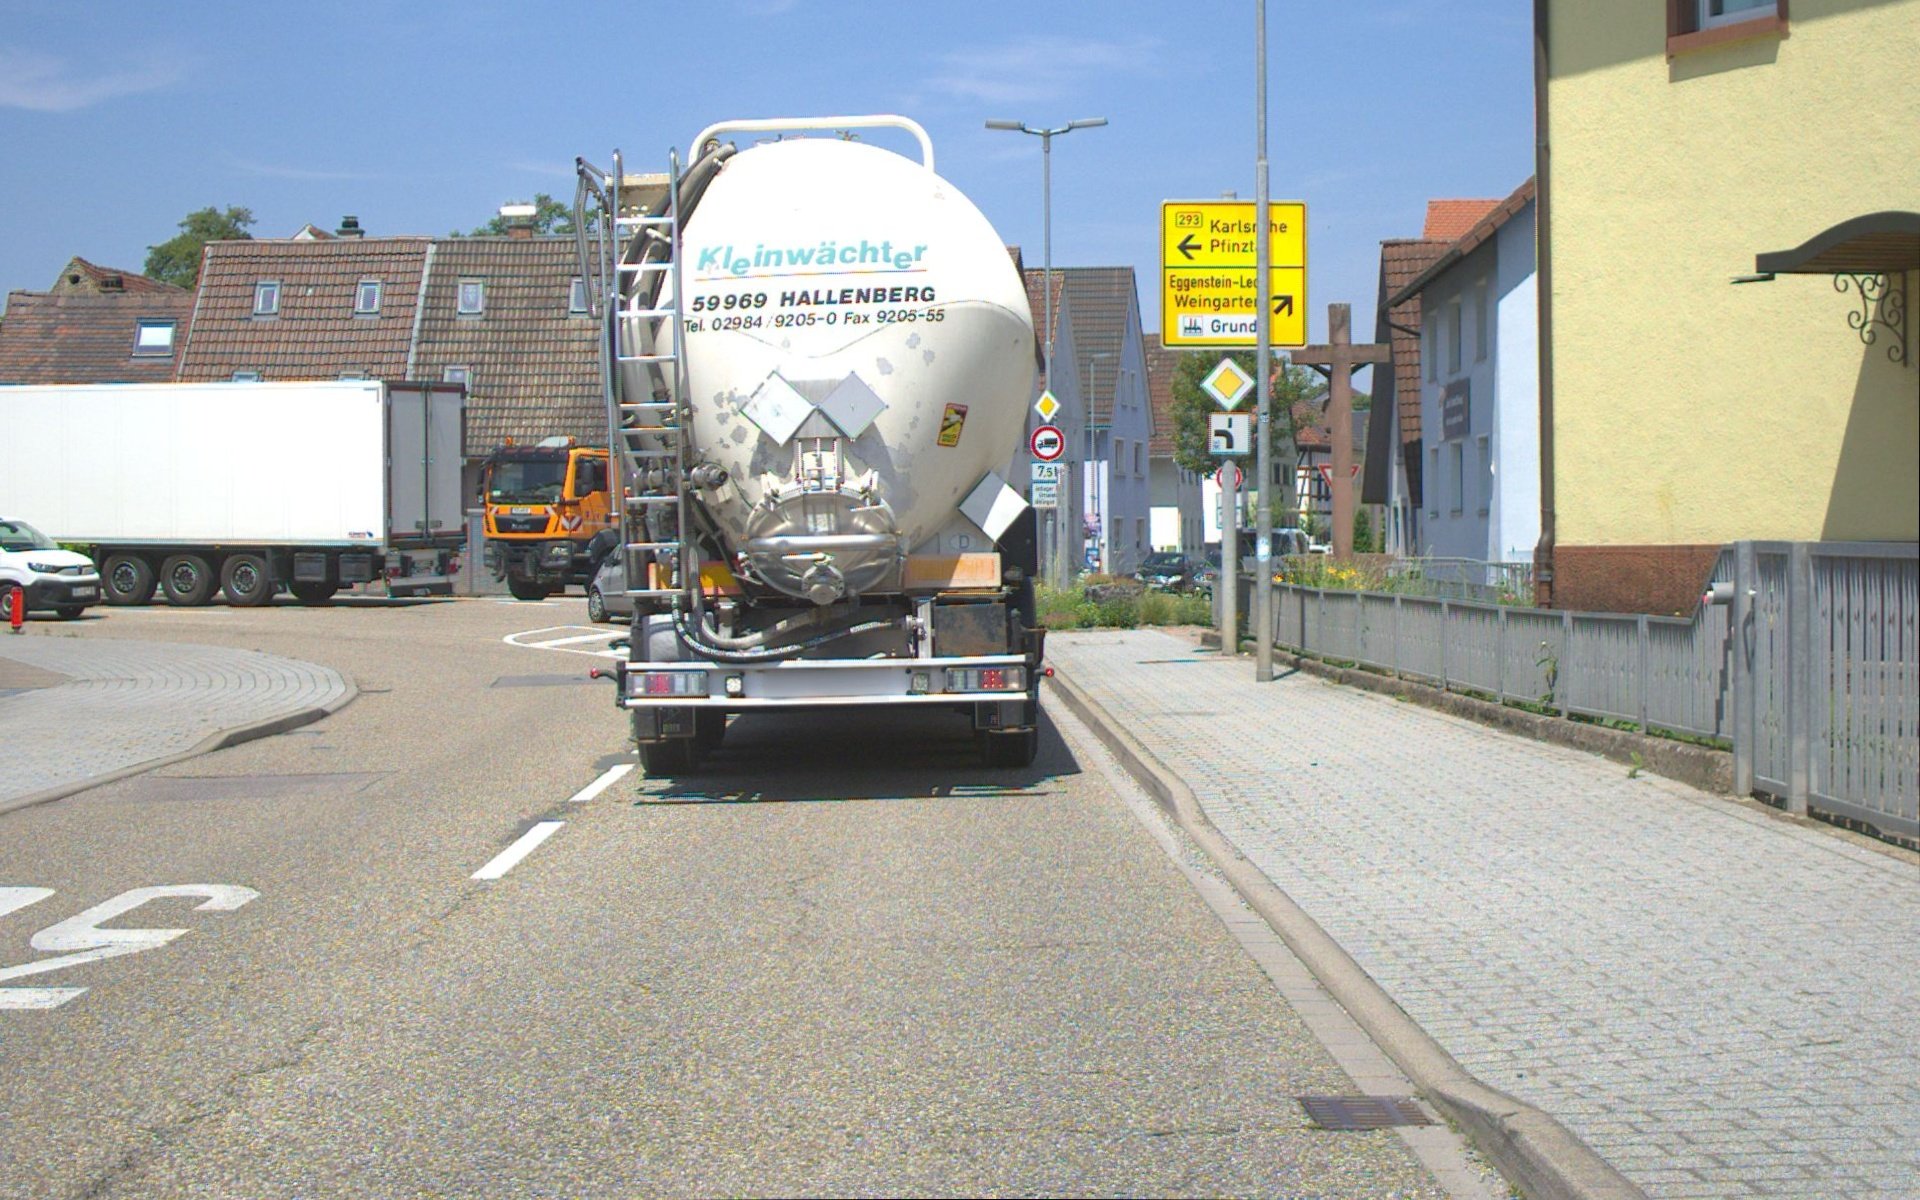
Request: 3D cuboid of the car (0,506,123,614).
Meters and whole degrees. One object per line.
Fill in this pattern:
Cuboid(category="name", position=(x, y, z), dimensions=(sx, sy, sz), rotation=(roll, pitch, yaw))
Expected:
Cuboid(category="car", position=(-16.824, -0.715, 59.007), dimensions=(4.512, 1.779, 1.878), rotation=(1, 2, 21))

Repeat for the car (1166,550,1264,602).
Cuboid(category="car", position=(8.398, -0.781, 112.803), dimensions=(1.996, 1.669, 4.308), rotation=(1, 0, 22))

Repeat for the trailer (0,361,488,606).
Cuboid(category="trailer", position=(-14.914, -2.066, 63.697), dimensions=(12.470, 4.262, 3.138), rotation=(0, 0, 24))

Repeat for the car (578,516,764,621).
Cuboid(category="car", position=(-4.549, -0.495, 53.740), dimensions=(1.781, 1.579, 3.607), rotation=(-1, 1, -24))

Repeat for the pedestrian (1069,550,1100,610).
Cuboid(category="pedestrian", position=(4.179, -0.679, 115.267), dimensions=(0.769, 2.007, 0.975), rotation=(1, 1, 20))

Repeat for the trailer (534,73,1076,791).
Cuboid(category="trailer", position=(-1.124, -0.991, 24.830), dimensions=(2.952, 3.934, 11.620), rotation=(1, 1, -3))

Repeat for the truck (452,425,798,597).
Cuboid(category="truck", position=(-6.595, -1.682, 68.875), dimensions=(2.666, 3.170, 7.447), rotation=(0, -1, 35))

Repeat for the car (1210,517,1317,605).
Cuboid(category="car", position=(7.093, -0.883, 79.995), dimensions=(1.994, 1.906, 4.322), rotation=(1, -1, 12))

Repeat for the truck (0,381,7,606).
Cuboid(category="truck", position=(-21.888, -2.074, 66.494), dimensions=(5.920, 4.386, 3.112), rotation=(0, 0, 16))
